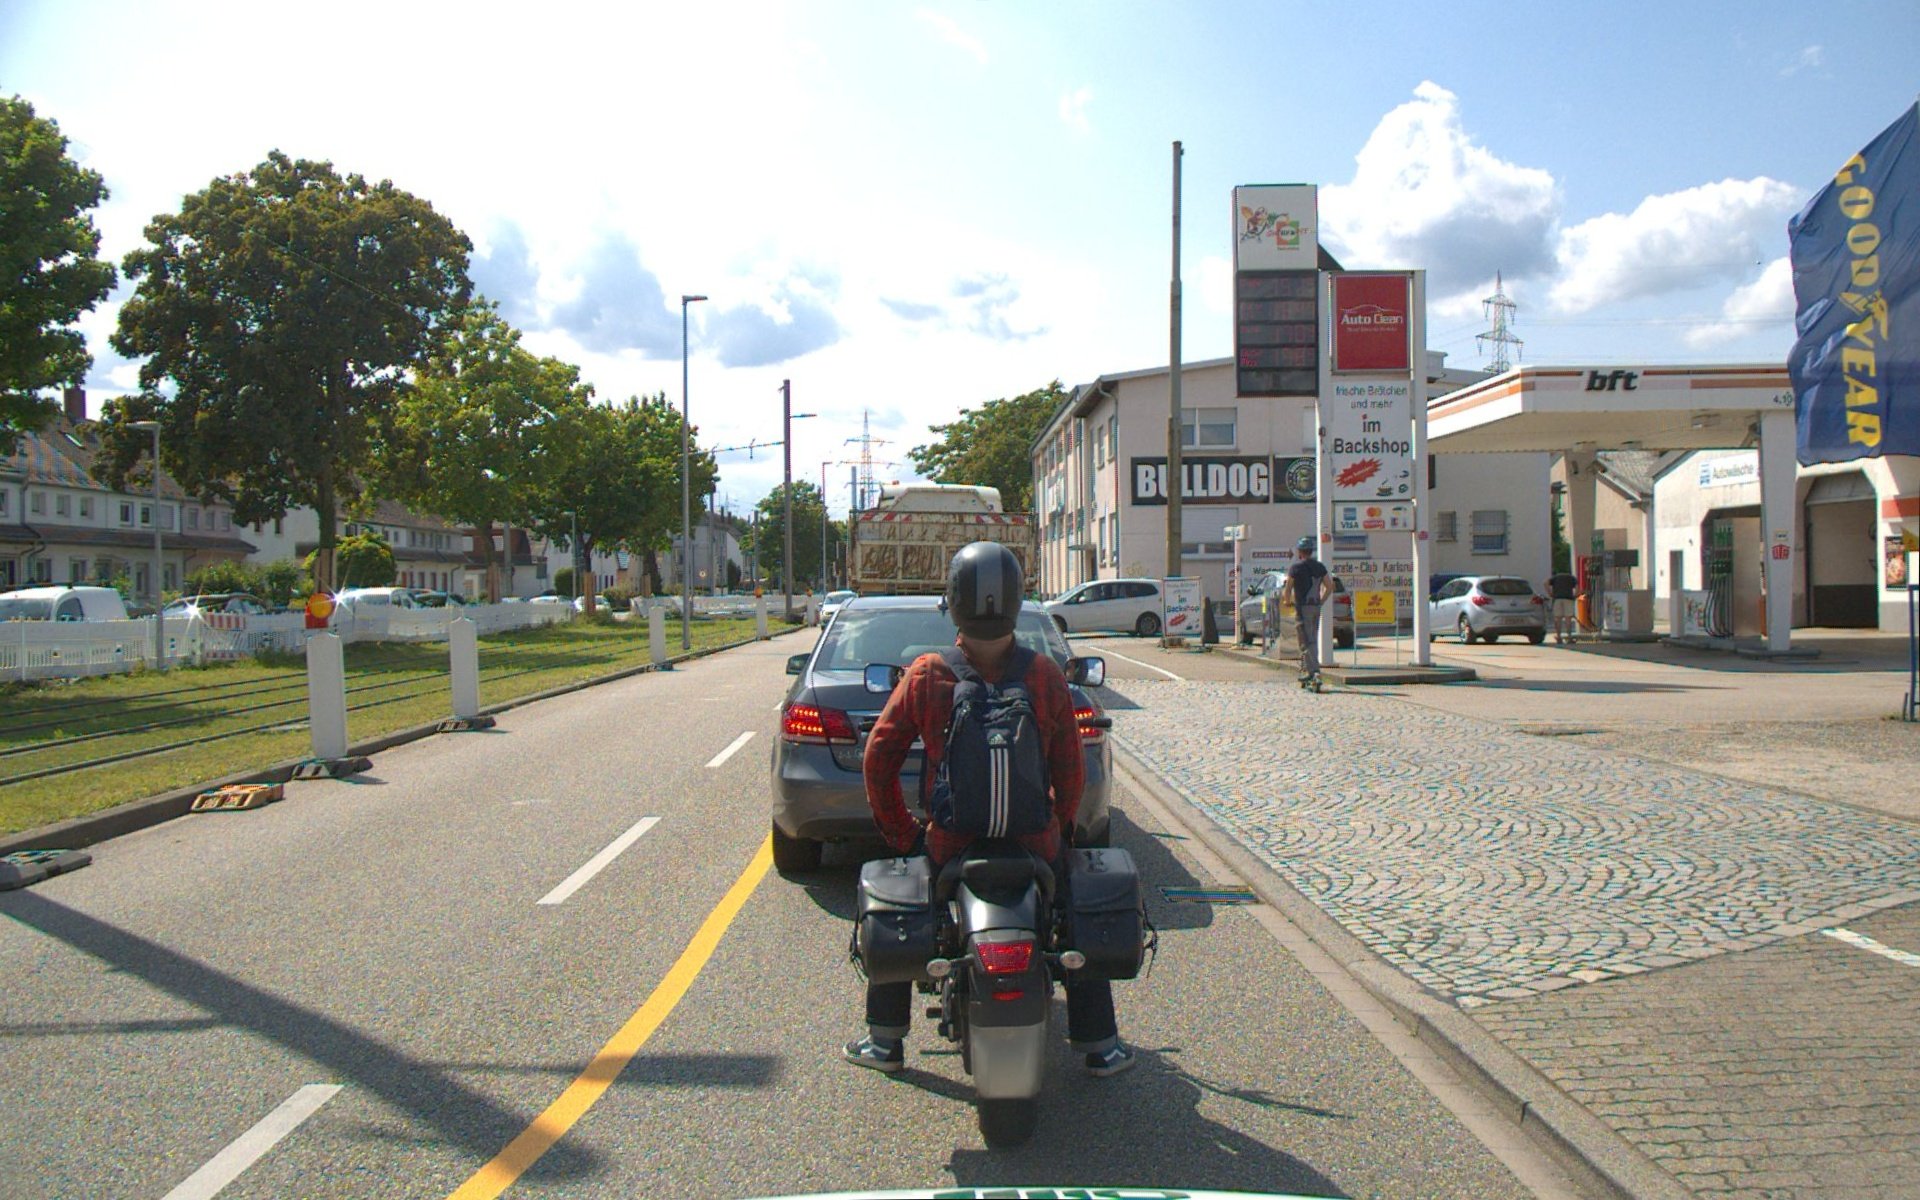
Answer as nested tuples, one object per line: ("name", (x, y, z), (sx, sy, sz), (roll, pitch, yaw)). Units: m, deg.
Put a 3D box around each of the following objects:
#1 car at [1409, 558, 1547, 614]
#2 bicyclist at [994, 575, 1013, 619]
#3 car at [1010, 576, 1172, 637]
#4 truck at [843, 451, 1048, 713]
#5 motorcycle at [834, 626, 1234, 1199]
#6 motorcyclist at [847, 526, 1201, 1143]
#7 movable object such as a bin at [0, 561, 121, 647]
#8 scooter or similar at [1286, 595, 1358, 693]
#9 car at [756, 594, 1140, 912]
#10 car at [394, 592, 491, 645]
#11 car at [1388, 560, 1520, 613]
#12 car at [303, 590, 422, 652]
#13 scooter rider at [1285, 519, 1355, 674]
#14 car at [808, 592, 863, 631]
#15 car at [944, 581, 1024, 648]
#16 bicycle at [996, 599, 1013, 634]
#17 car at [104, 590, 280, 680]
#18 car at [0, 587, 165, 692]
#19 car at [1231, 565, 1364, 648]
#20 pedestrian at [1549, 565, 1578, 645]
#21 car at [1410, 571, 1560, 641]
("car", (17.082, -0.449, 54.642), (3.906, 1.677, 1.965), (-2, 0, -2))
("bicyclist", (1.789, -0.113, 68.066), (0.658, 1.774, 0.812), (-1, 0, -6))
("car", (3.702, 0.173, 47.234), (4.250, 1.579, 1.946), (-2, 0, -9))
("truck", (-0.211, -0.352, 26.028), (2.557, 3.312, 9.182), (-2, 1, 0))
("motorcycle", (0.156, 0.786, 5.226), (0.920, 1.343, 2.644), (1, 0, -1))
("motorcyclist", (0.165, 0.630, 5.046), (0.920, 1.643, 1.204), (1, 0, -1))
("movable object such as a bin", (-27.804, 0.122, 49.848), (4.277, 2.492, 1.776), (-1, 0, -23))
("scooter or similar", (4.719, 0.552, 21.618), (0.529, 1.216, 1.610), (-1, 0, -1))
("car", (-0.083, 0.701, 9.696), (1.784, 1.449, 3.999), (0, 0, -1))
("car", (-17.104, 0.596, 54.826), (1.953, 1.634, 3.999), (-2, 0, -1))
("car", (17.037, -0.448, 57.187), (3.906, 1.677, 1.965), (-2, 0, -2))
("car", (-16.977, 0.573, 47.183), (1.953, 1.634, 3.999), (-2, 0, -1))
("scooter rider", (4.733, -0.046, 21.760), (0.702, 1.997, 0.785), (-1, 0, -1))
("car", (-4.838, 0.430, 64.855), (1.809, 1.411, 4.344), (-2, 0, 0))
("car", (0.528, 0.301, 38.904), (1.784, 1.489, 4.000), (0, 0, 0))
("bicycle", (1.824, 0.674, 68.102), (0.678, 1.385, 2.419), (-1, 0, 1))
("car", (-16.518, 0.714, 35.815), (1.953, 1.780, 3.999), (-2, 0, -1))
("car", (-16.539, 0.701, 30.376), (1.953, 1.780, 3.999), (-2, 0, -1))
("car", (7.392, 0.135, 36.601), (1.920, 1.677, 3.997), (-2, 0, -3))
("pedestrian", (13.087, 0.113, 35.866), (0.388, 1.718, 0.485), (-2, 0, 0))
("car", (11.800, 0.130, 37.436), (1.920, 1.445, 3.997), (-2, 0, -3))
